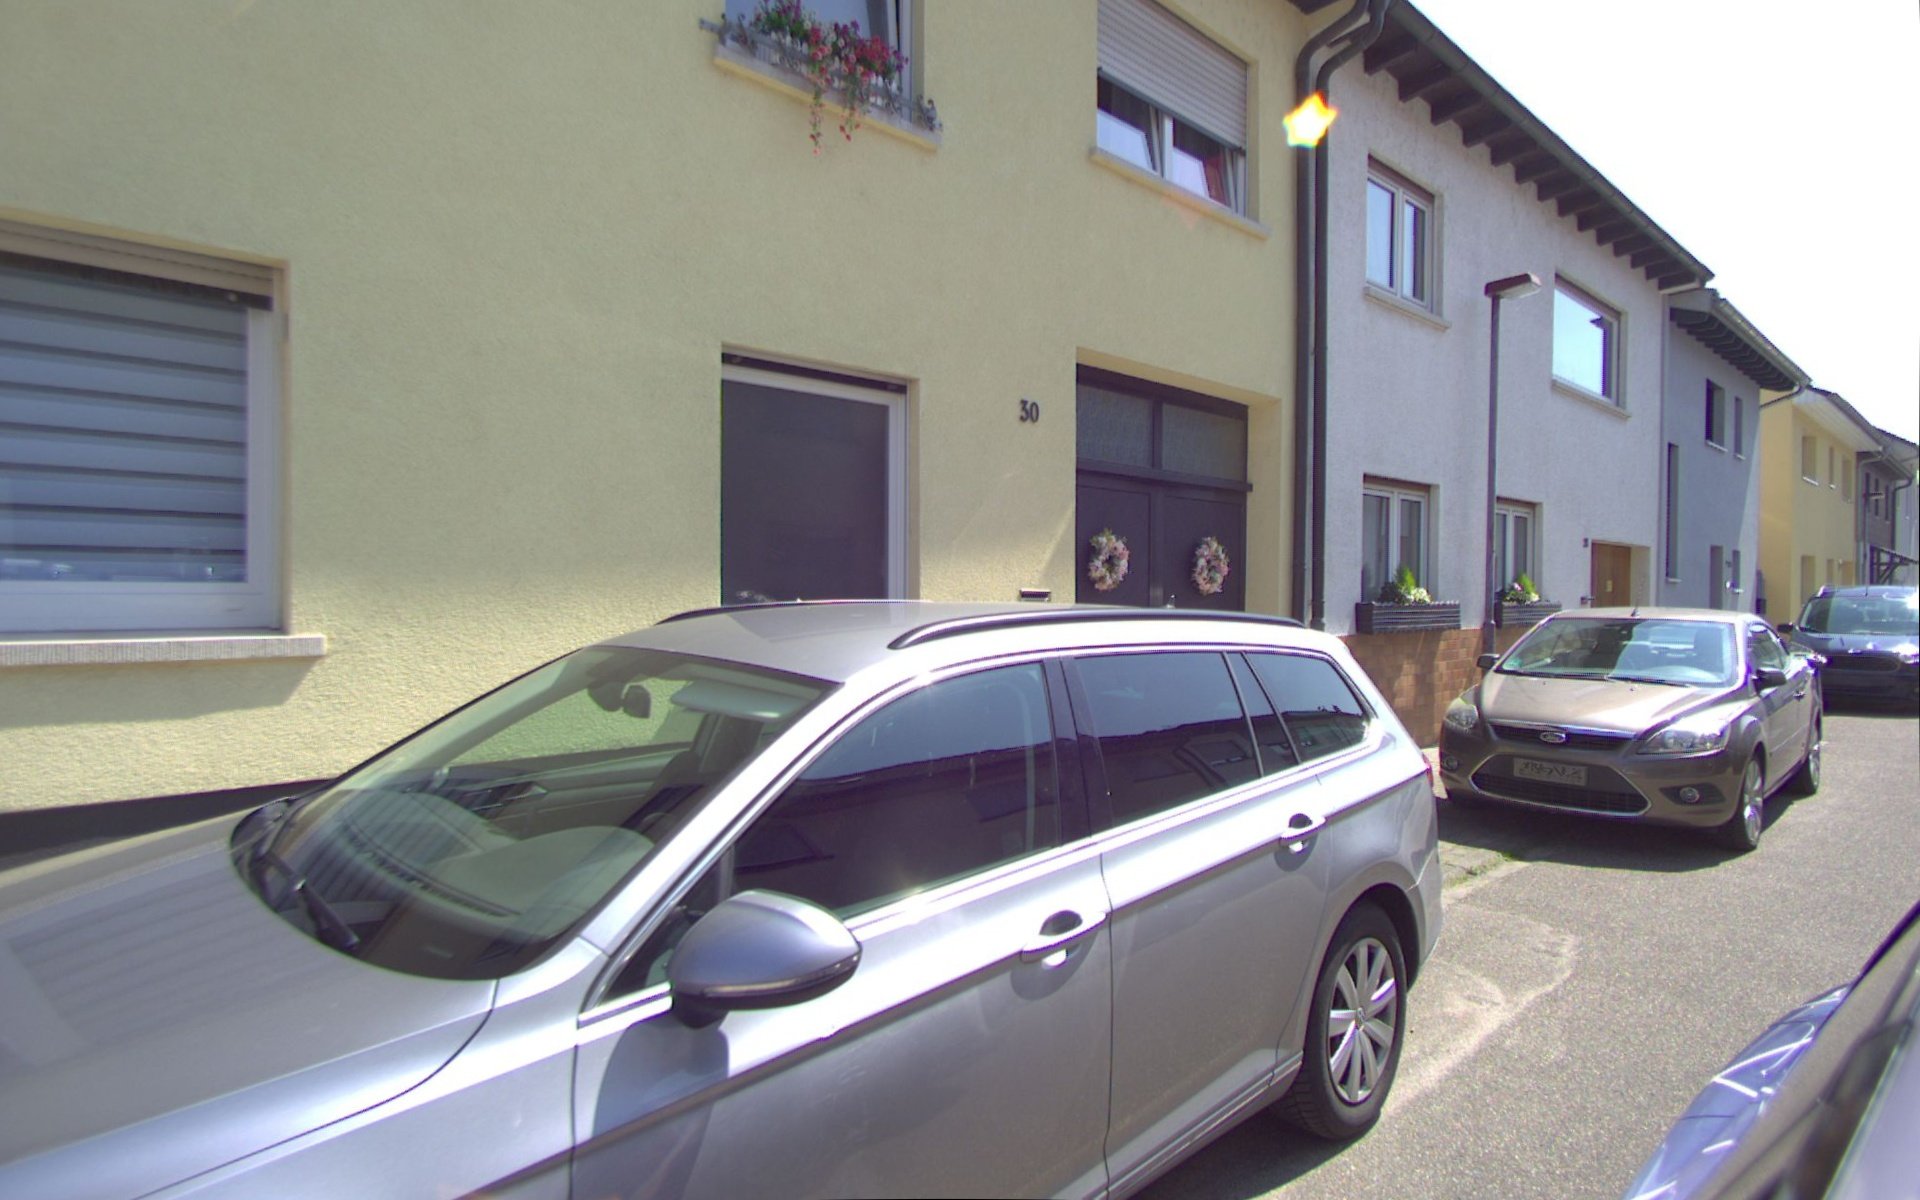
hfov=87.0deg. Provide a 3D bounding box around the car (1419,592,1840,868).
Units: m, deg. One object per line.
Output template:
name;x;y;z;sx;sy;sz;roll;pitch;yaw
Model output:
car;5.036;0.677;7.372;4.034;1.453;1.698;-1;0;-44

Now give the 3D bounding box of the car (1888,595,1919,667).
car;21.125;0.637;21.528;4.176;1.432;1.664;-1;2;-43

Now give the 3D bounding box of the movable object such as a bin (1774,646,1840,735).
movable object such as a bin;9.397;0.983;11.225;0.549;0.903;0.571;0;1;42

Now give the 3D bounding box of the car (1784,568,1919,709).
car;13.523;0.458;14.755;4.127;1.799;1.699;-1;2;-42

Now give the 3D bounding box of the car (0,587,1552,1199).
car;-0.216;0.711;2.662;4.696;1.466;1.840;-1;0;-44
